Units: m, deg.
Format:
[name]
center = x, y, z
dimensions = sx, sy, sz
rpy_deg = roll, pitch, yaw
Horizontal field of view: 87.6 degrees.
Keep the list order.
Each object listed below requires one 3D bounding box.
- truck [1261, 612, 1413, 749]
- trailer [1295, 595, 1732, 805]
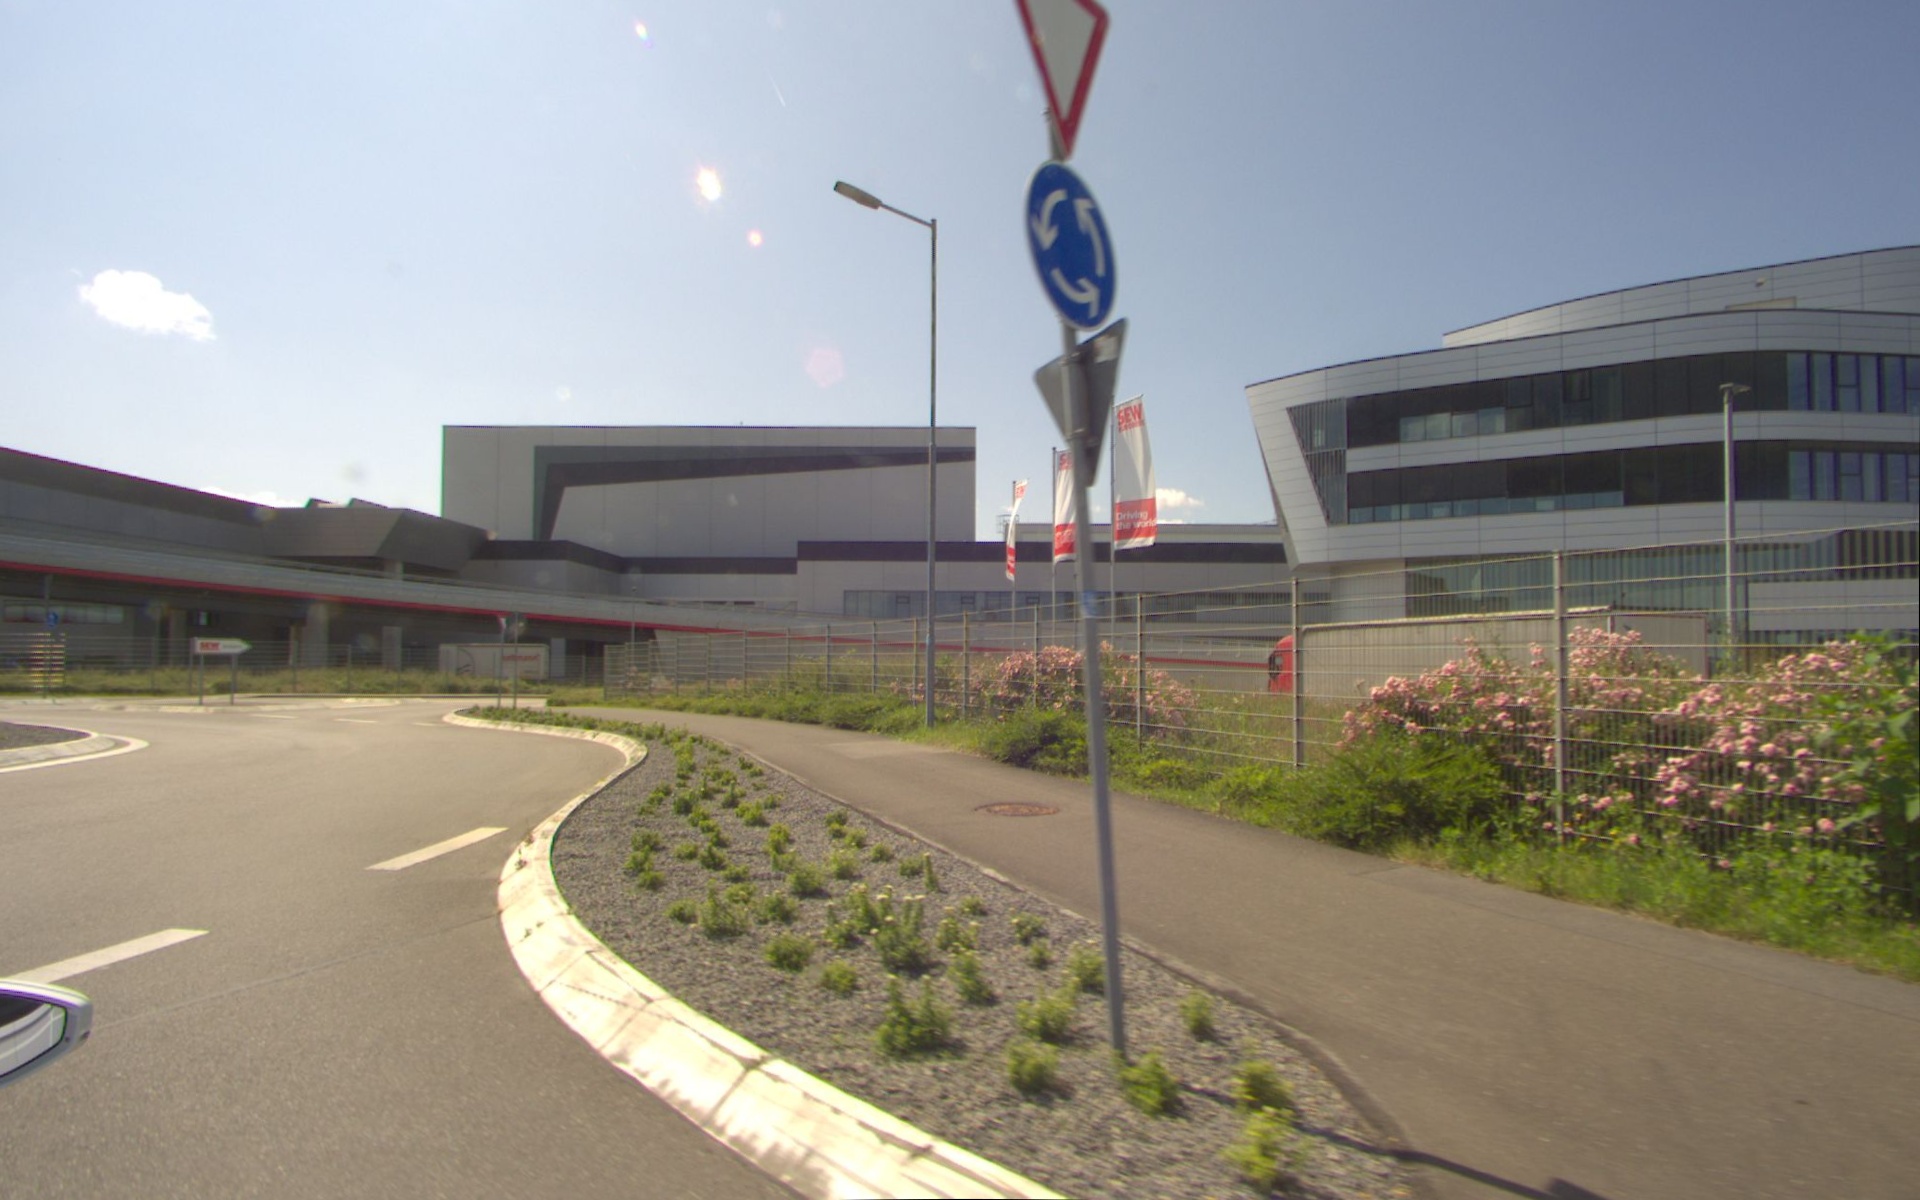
[truck]
center = 13.212, 2.745, 35.600
dimensions = 2.714, 4.478, 5.290
rpy_deg = 0, -2, -10
[trailer]
center = 14.367, 2.443, 28.655
dimensions = 2.714, 4.493, 14.063
rpy_deg = 0, -2, -10
